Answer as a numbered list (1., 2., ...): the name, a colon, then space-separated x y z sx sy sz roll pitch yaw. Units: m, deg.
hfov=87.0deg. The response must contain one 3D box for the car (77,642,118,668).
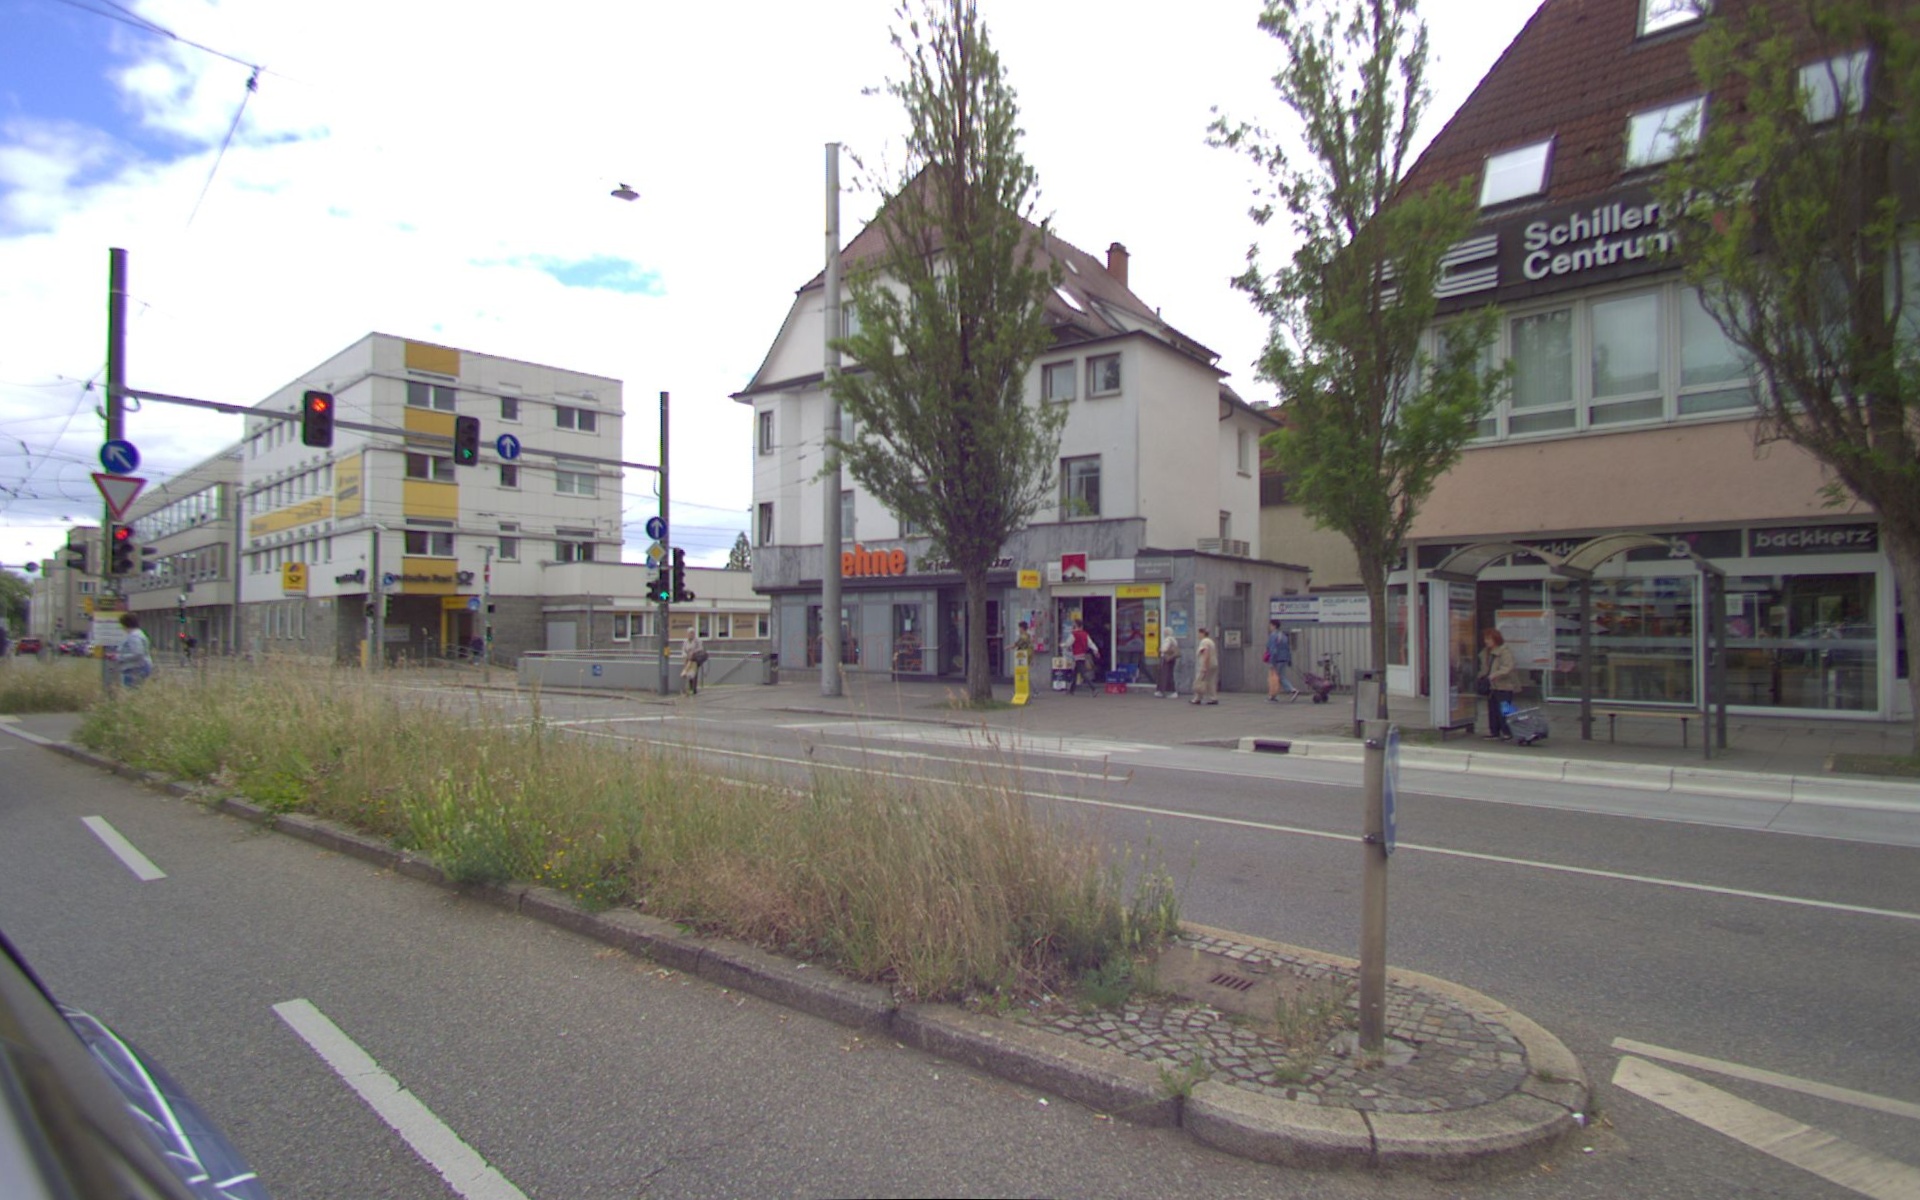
1. car: -71.252 4.524 83.558 4.484 2.029 1.973 -3 -2 41

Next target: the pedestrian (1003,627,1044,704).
1. pedestrian: 1.419 1.443 22.485 0.615 1.647 0.580 -3 -1 41

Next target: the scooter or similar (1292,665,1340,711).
1. scooter or similar: 6.922 1.699 19.682 0.702 0.855 0.585 -3 -3 42

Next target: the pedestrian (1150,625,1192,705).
1. pedestrian: 4.551 1.390 21.813 0.615 1.647 0.580 -3 -1 41

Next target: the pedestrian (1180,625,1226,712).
1. pedestrian: 4.793 1.344 19.951 0.615 1.647 0.580 -3 -1 41

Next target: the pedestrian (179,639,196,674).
1. pedestrian: -41.978 3.060 55.005 0.526 1.817 0.580 -3 -1 43

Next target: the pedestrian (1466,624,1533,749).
1. pedestrian: 7.433 1.175 13.979 0.710 1.665 0.583 -3 -2 25

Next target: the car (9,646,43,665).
1. car: -88.050 5.206 95.387 4.694 1.752 2.045 -3 -5 44

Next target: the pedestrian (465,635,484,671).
1. pedestrian: -22.586 2.456 47.089 0.615 1.647 0.579 -3 -4 43

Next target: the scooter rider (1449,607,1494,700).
1. scooter rider: 9.846 1.021 19.487 0.587 1.725 0.607 -3 -1 40

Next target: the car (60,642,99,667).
1. car: -76.098 4.717 87.428 4.484 2.029 1.973 -3 -2 41

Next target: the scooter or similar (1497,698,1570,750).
1. scooter or similar: 7.512 1.607 13.256 0.702 0.606 0.585 -3 -3 42

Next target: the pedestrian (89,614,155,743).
1. pedestrian: -11.045 1.017 13.345 0.662 1.647 0.498 -2 -3 37

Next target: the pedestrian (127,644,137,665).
1. pedestrian: -73.889 4.823 90.262 0.526 1.817 0.580 -3 -1 43

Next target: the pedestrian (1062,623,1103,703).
1. pedestrian: 2.747 1.403 22.646 0.615 1.725 0.580 -3 -1 41

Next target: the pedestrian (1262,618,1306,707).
1. pedestrian: 6.426 1.231 20.082 0.615 1.725 0.580 -2 -3 41

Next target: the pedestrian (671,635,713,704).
1. pedestrian: -6.658 1.715 25.153 0.613 1.647 0.694 -3 0 32

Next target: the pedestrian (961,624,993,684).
1. pedestrian: 0.489 1.538 28.738 0.587 1.647 0.607 -3 -1 41
